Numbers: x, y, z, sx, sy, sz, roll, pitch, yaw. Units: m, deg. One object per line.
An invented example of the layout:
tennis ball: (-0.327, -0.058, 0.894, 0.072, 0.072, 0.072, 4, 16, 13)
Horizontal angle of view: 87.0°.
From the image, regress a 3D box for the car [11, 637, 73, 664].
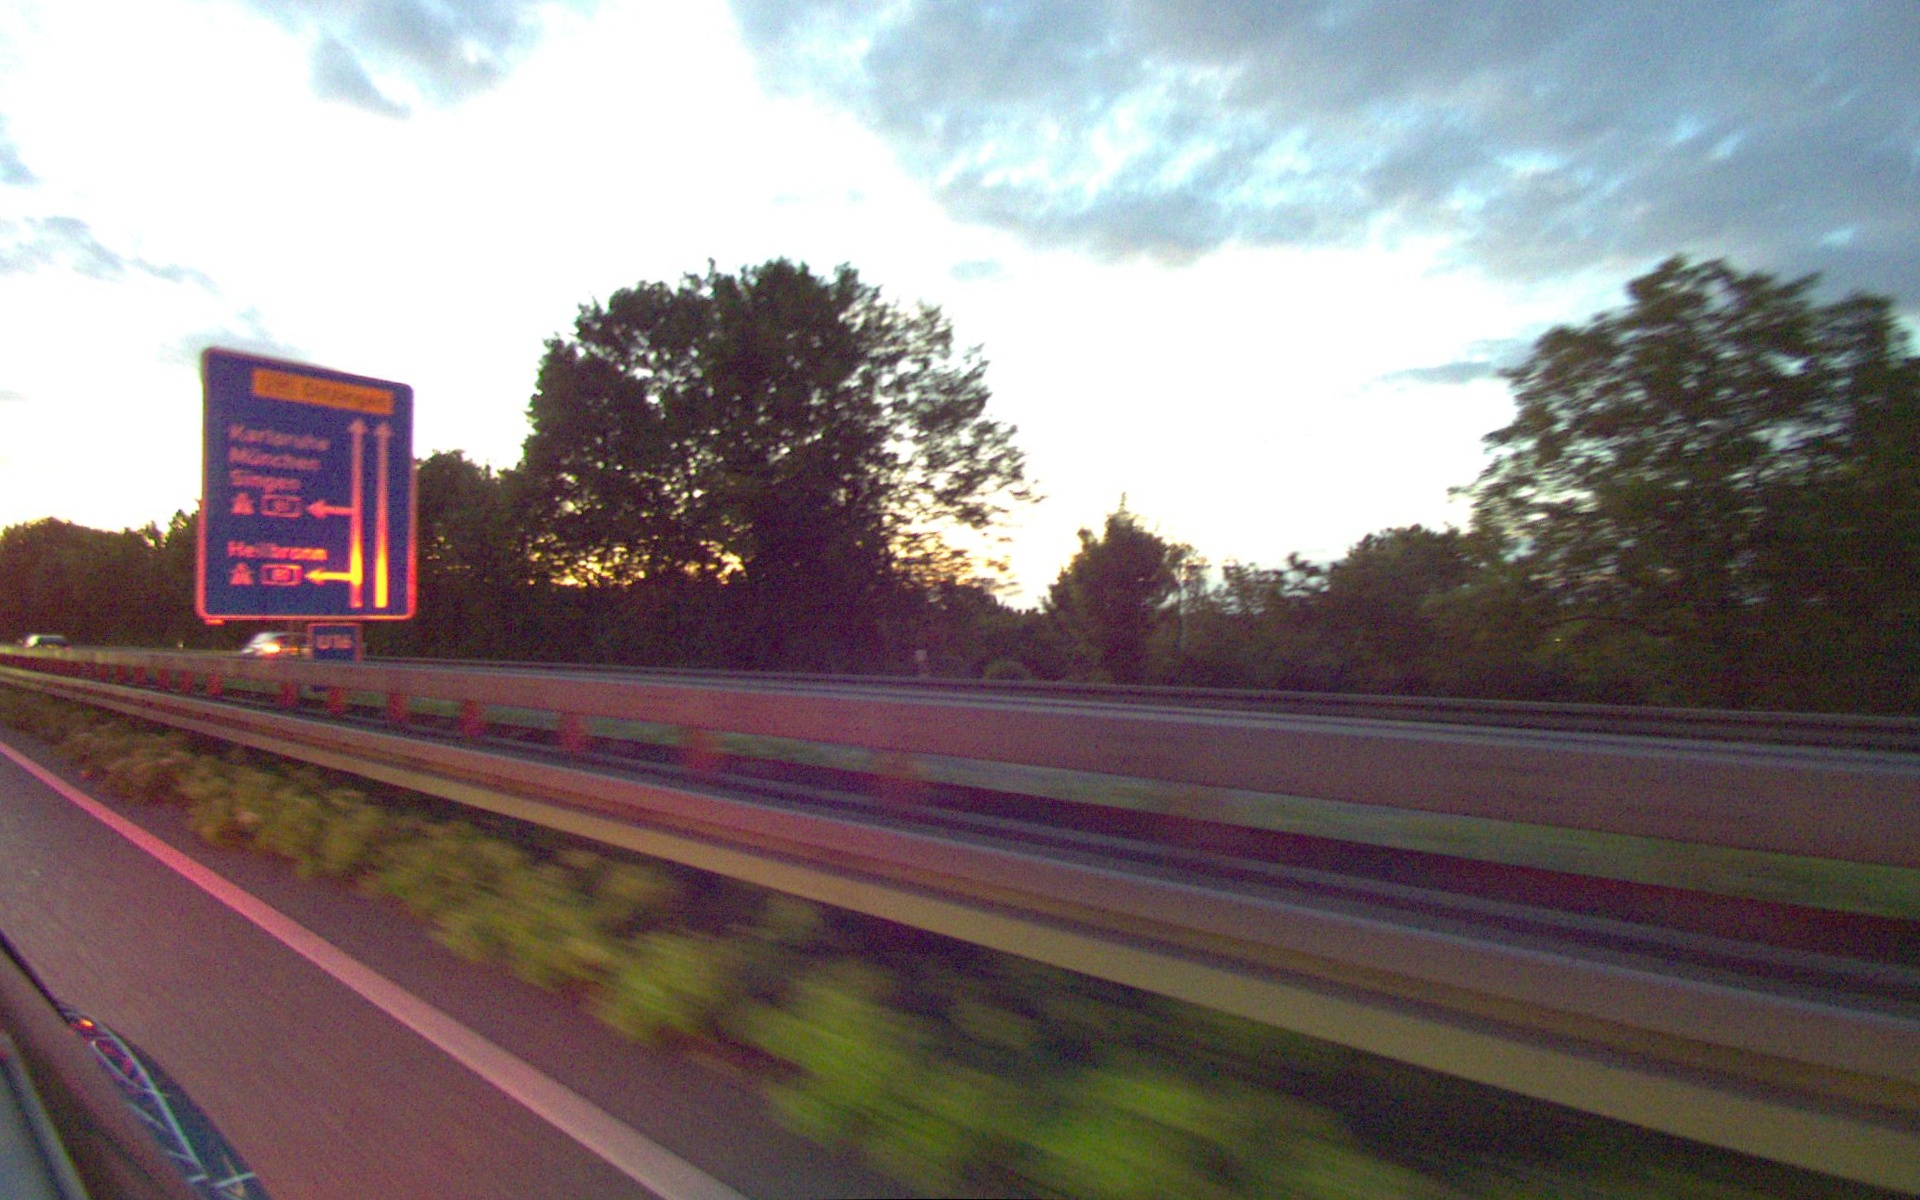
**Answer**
car: (-50.878, 2.793, 56.074, 4.497, 1.443, 1.901, -2, -3, 39)

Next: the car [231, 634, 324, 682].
car: (-25.943, 2.147, 38.419, 4.498, 1.684, 1.776, -2, -2, 40)
